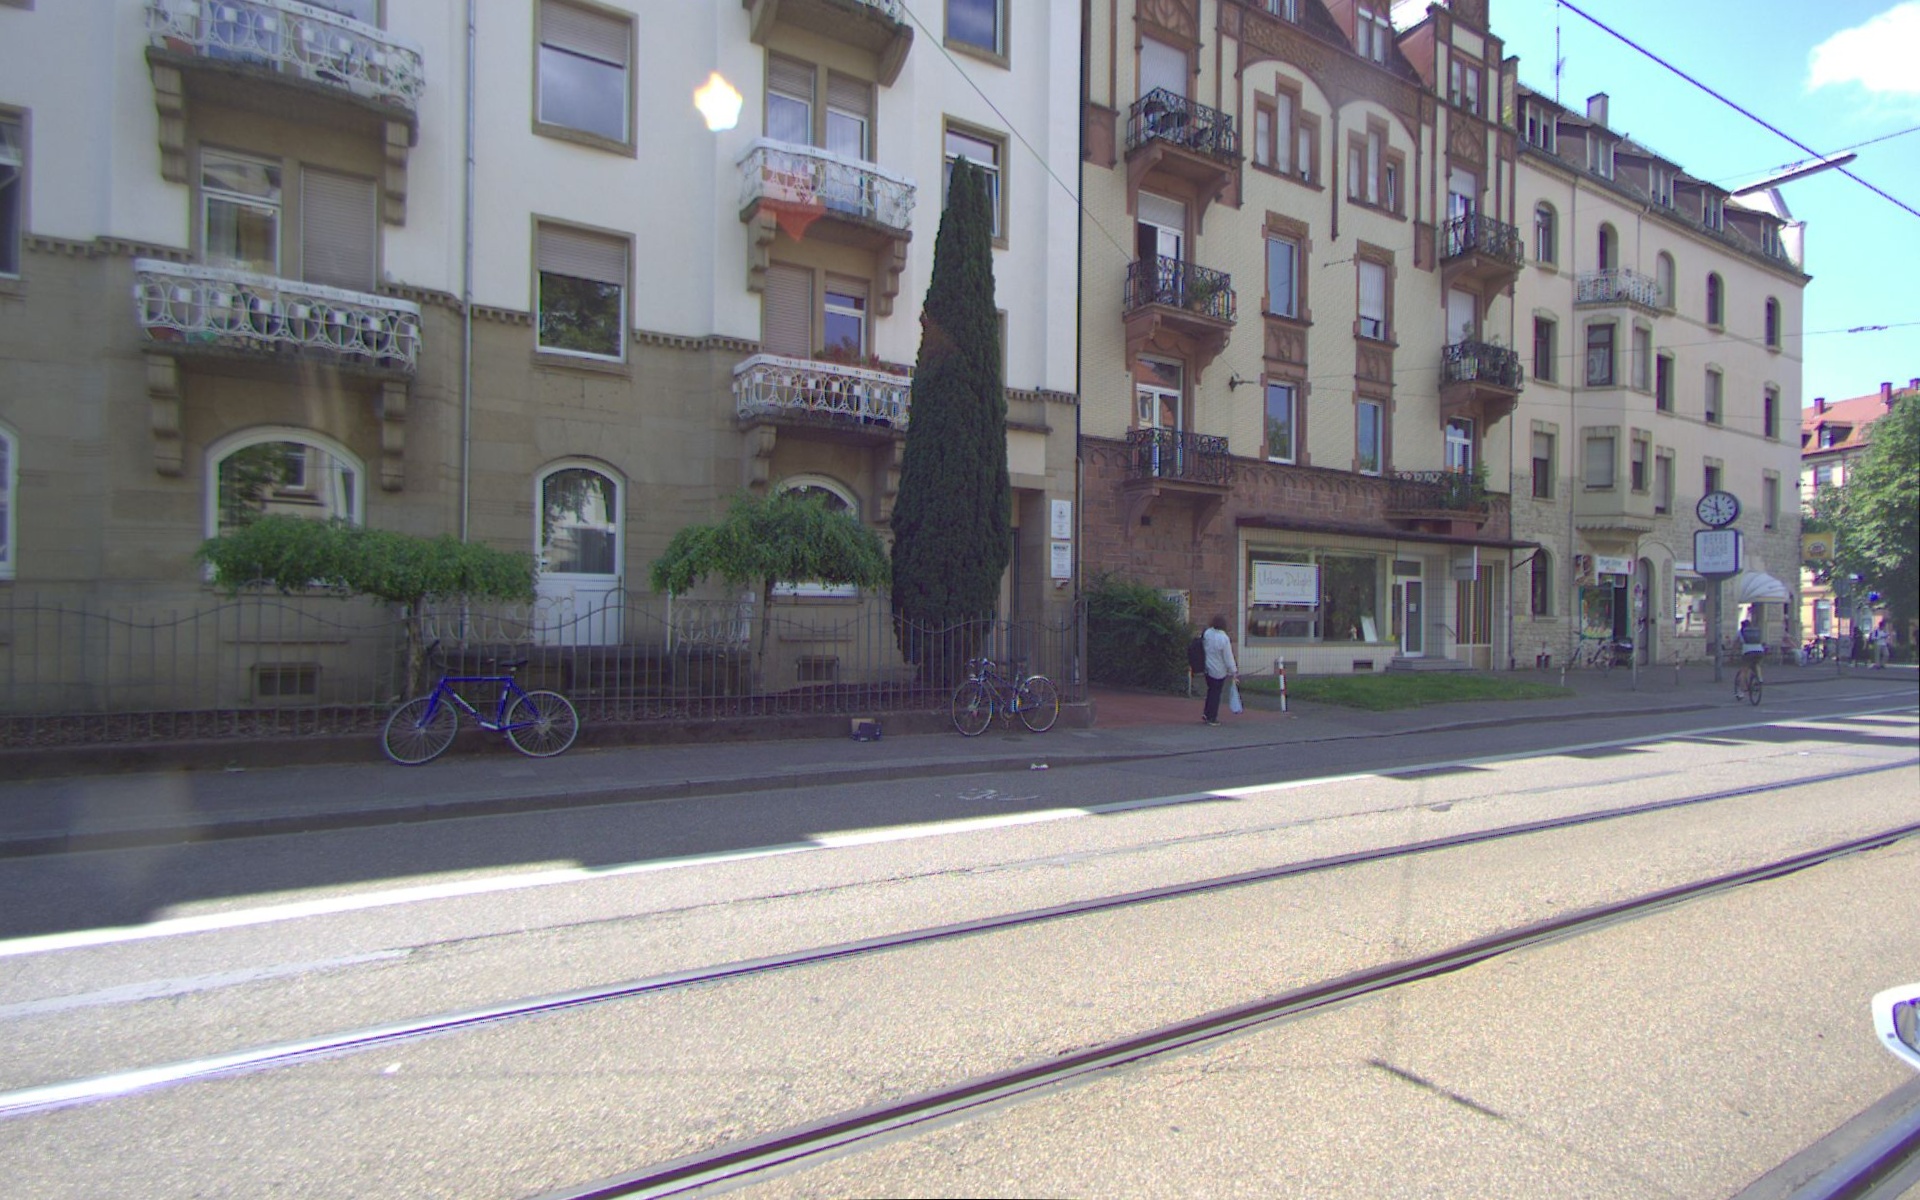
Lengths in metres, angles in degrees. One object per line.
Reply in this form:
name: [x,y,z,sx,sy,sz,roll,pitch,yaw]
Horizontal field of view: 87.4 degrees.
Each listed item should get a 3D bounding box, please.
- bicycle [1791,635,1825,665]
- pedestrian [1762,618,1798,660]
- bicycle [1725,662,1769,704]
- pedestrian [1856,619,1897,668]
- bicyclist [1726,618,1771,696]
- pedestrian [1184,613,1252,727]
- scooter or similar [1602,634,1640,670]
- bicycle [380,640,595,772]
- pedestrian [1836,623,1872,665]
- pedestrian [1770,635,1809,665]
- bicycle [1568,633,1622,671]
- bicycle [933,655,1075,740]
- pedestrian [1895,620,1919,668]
bicycle: [34.374,2.031,40.744,0.534,1.143,1.683,1,-3,22]
pedestrian: [32.647,1.542,39.995,0.801,1.616,0.911,1,-1,-34]
bicycle: [17.726,1.840,22.638,0.743,0.828,1.813,0,-1,38]
pedestrian: [34.435,1.622,37.762,0.760,1.756,0.863,1,1,11]
bicyclist: [17.753,1.256,22.611,0.747,1.685,0.827,2,0,39]
pedestrian: [3.667,0.976,14.371,0.885,1.563,0.985,0,-1,12]
scooter or similar: [20.856,1.618,31.710,0.682,1.058,1.210,2,0,18]
bicycle: [-4.403,0.944,9.396,1.752,1.079,0.604,1,3,-32]
pedestrian: [36.090,1.751,40.532,1.015,1.657,0.855,1,-1,-32]
pedestrian: [31.704,1.898,38.385,0.872,1.092,0.911,1,-1,-30]
bicycle: [19.282,1.581,30.504,1.438,1.080,0.370,2,0,-8]
bicycle: [0.576,1.198,12.581,1.821,0.973,0.408,2,2,-32]
pedestrian: [38.663,1.772,40.675,1.152,1.916,0.896,1,-1,-32]
